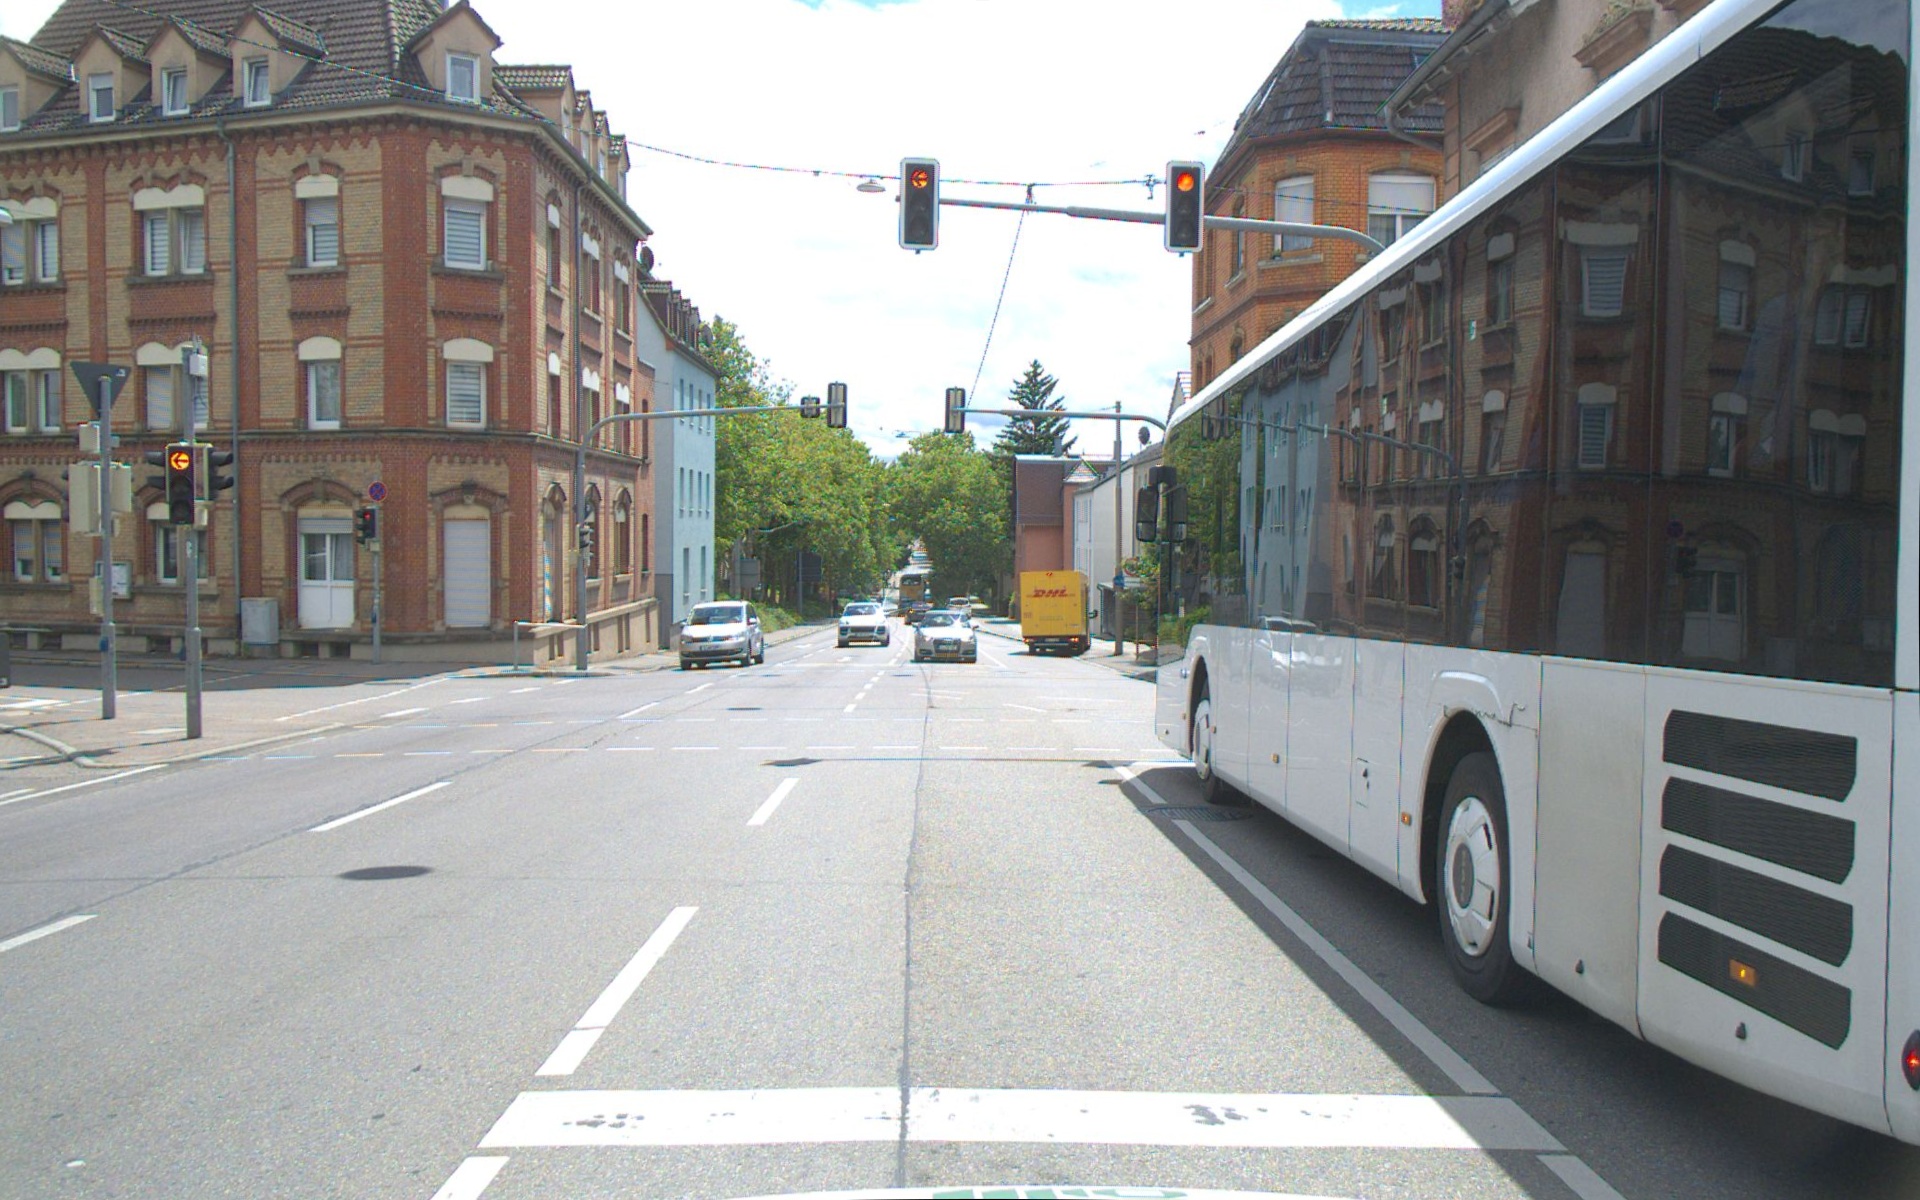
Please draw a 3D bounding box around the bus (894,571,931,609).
[{"bbox_3d":[-4.856,-0.954,167.686,3.236,3.694,11.234,-1,0,-4],"label":"bus"}]

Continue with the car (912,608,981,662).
[{"bbox_3d":[-0.394,0.956,46.572,1.827,1.391,4.546,0,0,-1],"label":"car"}]

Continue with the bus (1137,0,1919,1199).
[{"bbox_3d":[3.206,-0.228,9.349,2.845,3.571,12.484,1,0,-1],"label":"bus"}]

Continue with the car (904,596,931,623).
[{"bbox_3d":[-2.909,0.639,113.422,1.782,1.816,3.999,0,0,-1],"label":"car"}]

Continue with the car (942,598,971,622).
[{"bbox_3d":[-0.294,0.752,129.474,2.050,1.862,4.139,0,0,-4],"label":"car"}]

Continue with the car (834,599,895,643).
[{"bbox_3d":[-3.690,0.806,64.788,2.162,1.641,4.546,0,0,-1],"label":"car"}]

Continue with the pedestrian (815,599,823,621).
[{"bbox_3d":[-11.653,0.846,136.338,0.594,1.789,0.653,0,0,-2],"label":"pedestrian"}]

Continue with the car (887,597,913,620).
[{"bbox_3d":[-5.126,0.721,140.812,2.050,1.862,4.139,0,0,-4],"label":"car"}]

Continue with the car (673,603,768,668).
[{"bbox_3d":[-6.189,0.887,43.215,1.896,1.591,4.388,0,0,-1],"label":"car"}]

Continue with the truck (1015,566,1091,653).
[{"bbox_3d":[3.486,0.343,60.850,2.487,2.964,6.576,1,0,6],"label":"truck"}]
